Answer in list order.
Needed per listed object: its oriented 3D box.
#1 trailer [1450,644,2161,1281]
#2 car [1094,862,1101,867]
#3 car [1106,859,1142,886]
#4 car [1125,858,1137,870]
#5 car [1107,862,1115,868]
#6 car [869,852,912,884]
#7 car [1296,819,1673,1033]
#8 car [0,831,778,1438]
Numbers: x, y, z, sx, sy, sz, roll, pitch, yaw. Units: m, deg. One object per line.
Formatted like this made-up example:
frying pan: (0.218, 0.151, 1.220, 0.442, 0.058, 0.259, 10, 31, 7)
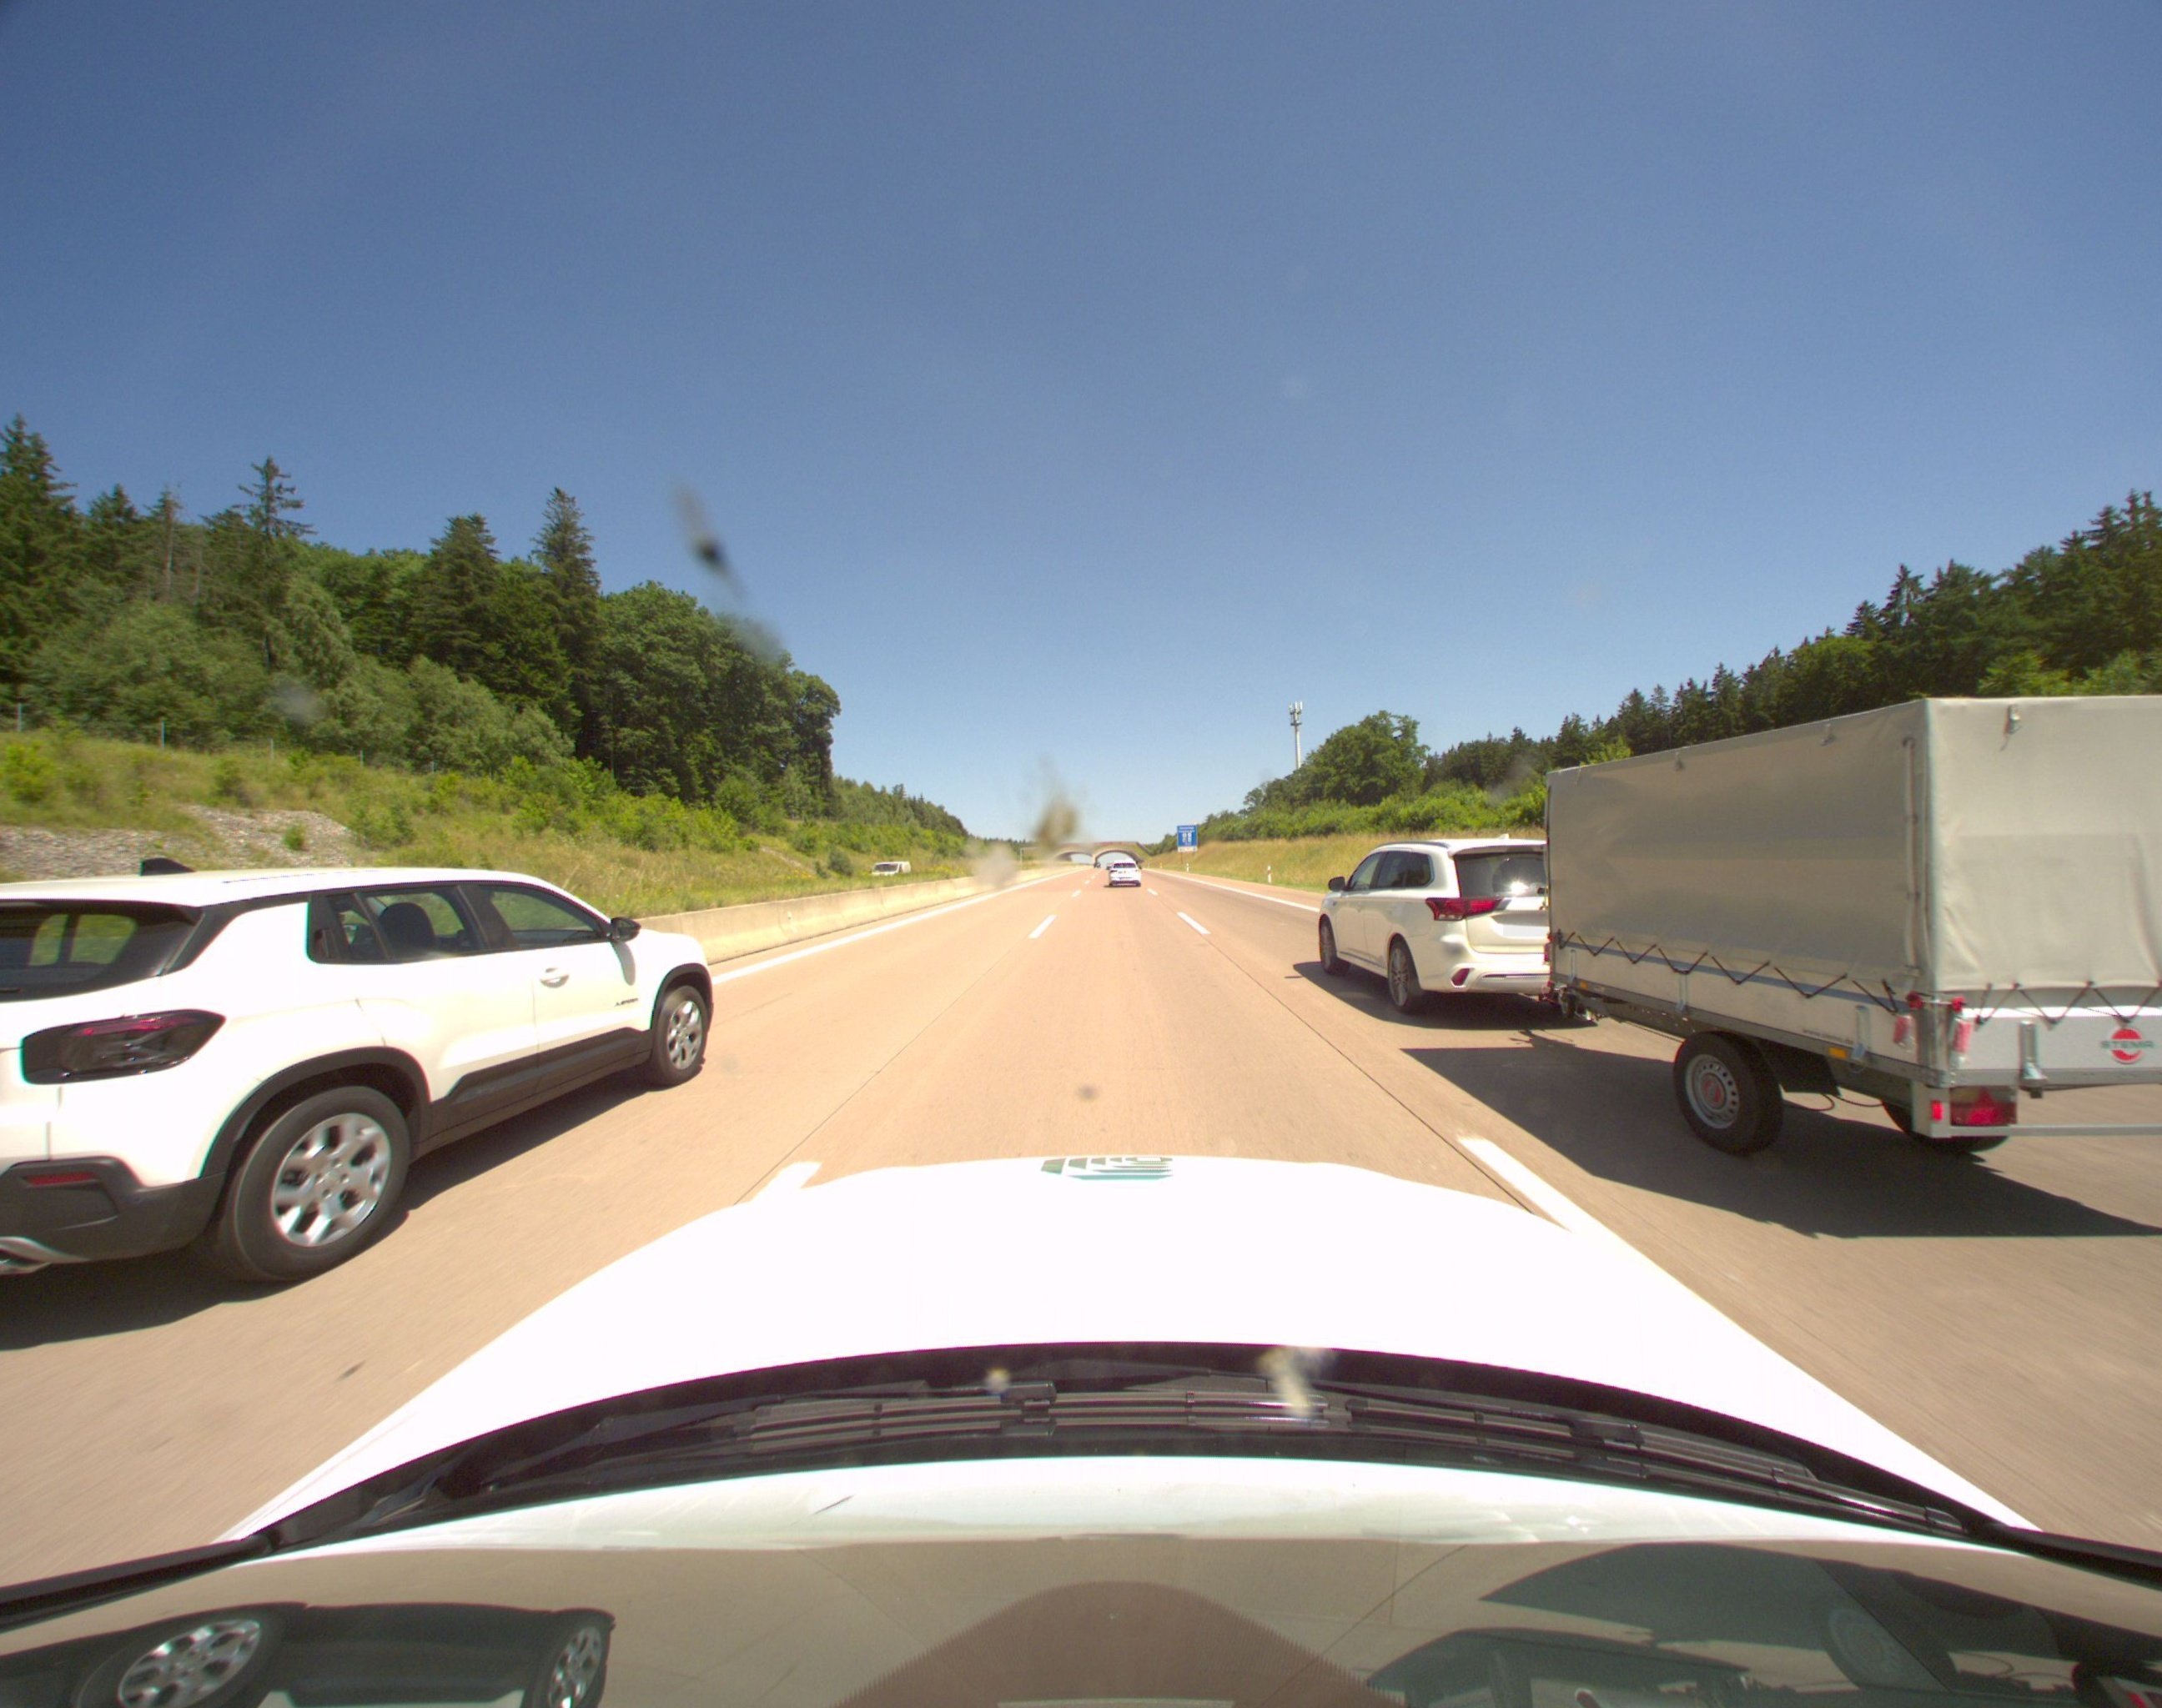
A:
trailer: (3.866, 0.372, 4.787, 1.651, 2.164, 4.017, -1, 0, 2)
car: (4.868, 3.056, 235.221, 1.882, 1.463, 4.004, -1, 0, 4)
car: (2.426, 0.979, 45.125, 1.882, 1.398, 4.004, 0, 0, 4)
car: (9.148, 1.797, 149.853, 2.101, 2.054, 4.004, -1, 0, 4)
car: (7.787, 2.909, 210.121, 1.883, 1.463, 4.002, 0, 0, 2)
car: (-13.225, 0.926, 56.812, 1.885, 2.064, 4.663, -1, 0, 0)
car: (3.990, 0.599, 9.273, 1.883, 1.728, 5.189, -1, 0, 2)
car: (-3.636, 0.774, 4.597, 1.872, 1.607, 4.836, -1, 0, 2)
